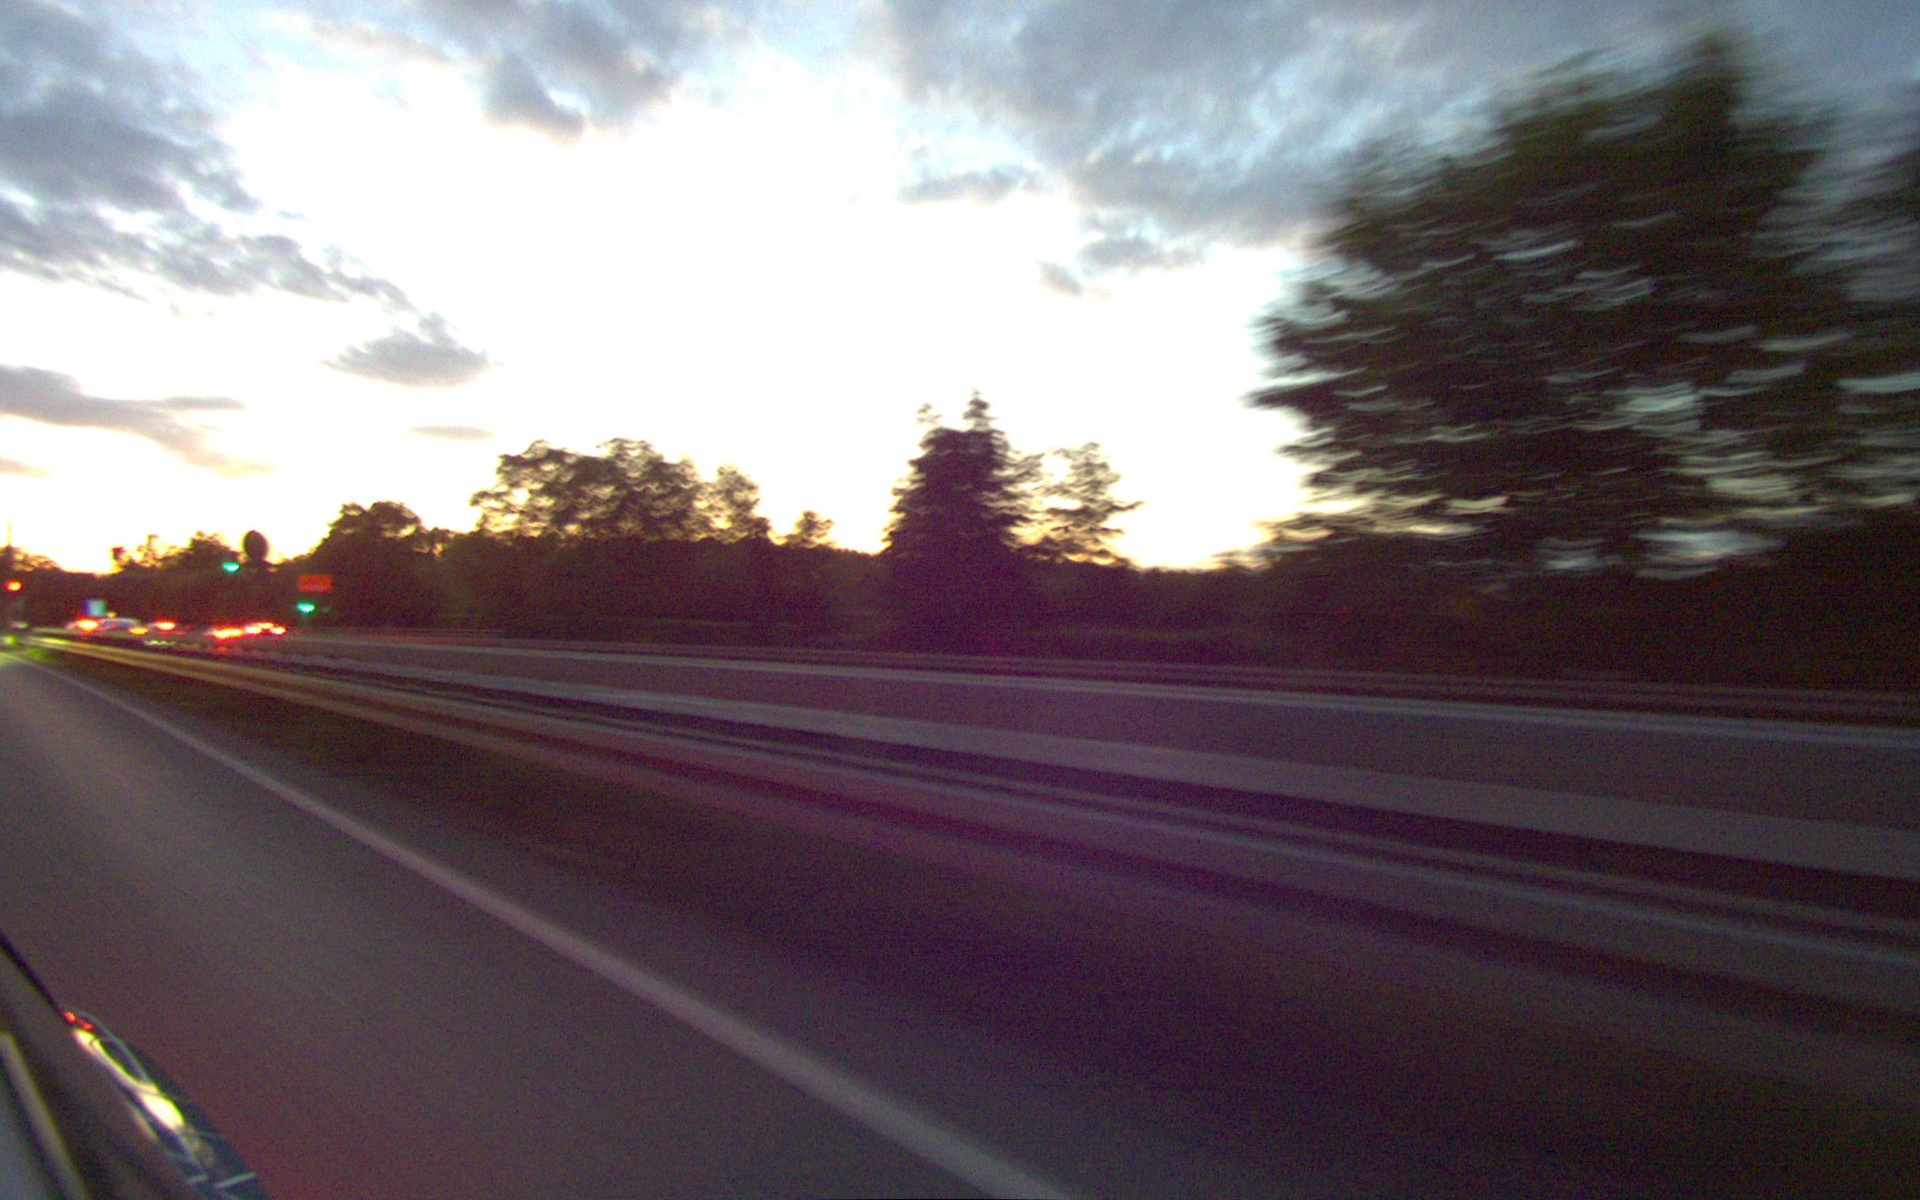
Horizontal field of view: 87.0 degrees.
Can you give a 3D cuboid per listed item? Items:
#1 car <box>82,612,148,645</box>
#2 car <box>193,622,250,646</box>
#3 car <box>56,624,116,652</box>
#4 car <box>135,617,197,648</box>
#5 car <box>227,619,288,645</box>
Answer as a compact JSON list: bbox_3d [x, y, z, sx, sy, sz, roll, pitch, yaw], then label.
[{"bbox_3d":[-41.642,1.409,49.818,4.824,1.582,1.971,-1,-3,44],"label":"car"},{"bbox_3d":[-46.445,2.172,63.613,4.733,1.464,1.972,-2,-3,42],"label":"car"},{"bbox_3d":[-47.427,2.038,54.896,5.048,1.464,1.971,-2,-3,44],"label":"car"},{"bbox_3d":[-46.336,1.885,59.026,4.871,1.694,1.972,0,-2,41],"label":"car"},{"bbox_3d":[-40.835,1.840,58.777,4.735,1.464,1.971,-1,-2,43],"label":"car"}]
